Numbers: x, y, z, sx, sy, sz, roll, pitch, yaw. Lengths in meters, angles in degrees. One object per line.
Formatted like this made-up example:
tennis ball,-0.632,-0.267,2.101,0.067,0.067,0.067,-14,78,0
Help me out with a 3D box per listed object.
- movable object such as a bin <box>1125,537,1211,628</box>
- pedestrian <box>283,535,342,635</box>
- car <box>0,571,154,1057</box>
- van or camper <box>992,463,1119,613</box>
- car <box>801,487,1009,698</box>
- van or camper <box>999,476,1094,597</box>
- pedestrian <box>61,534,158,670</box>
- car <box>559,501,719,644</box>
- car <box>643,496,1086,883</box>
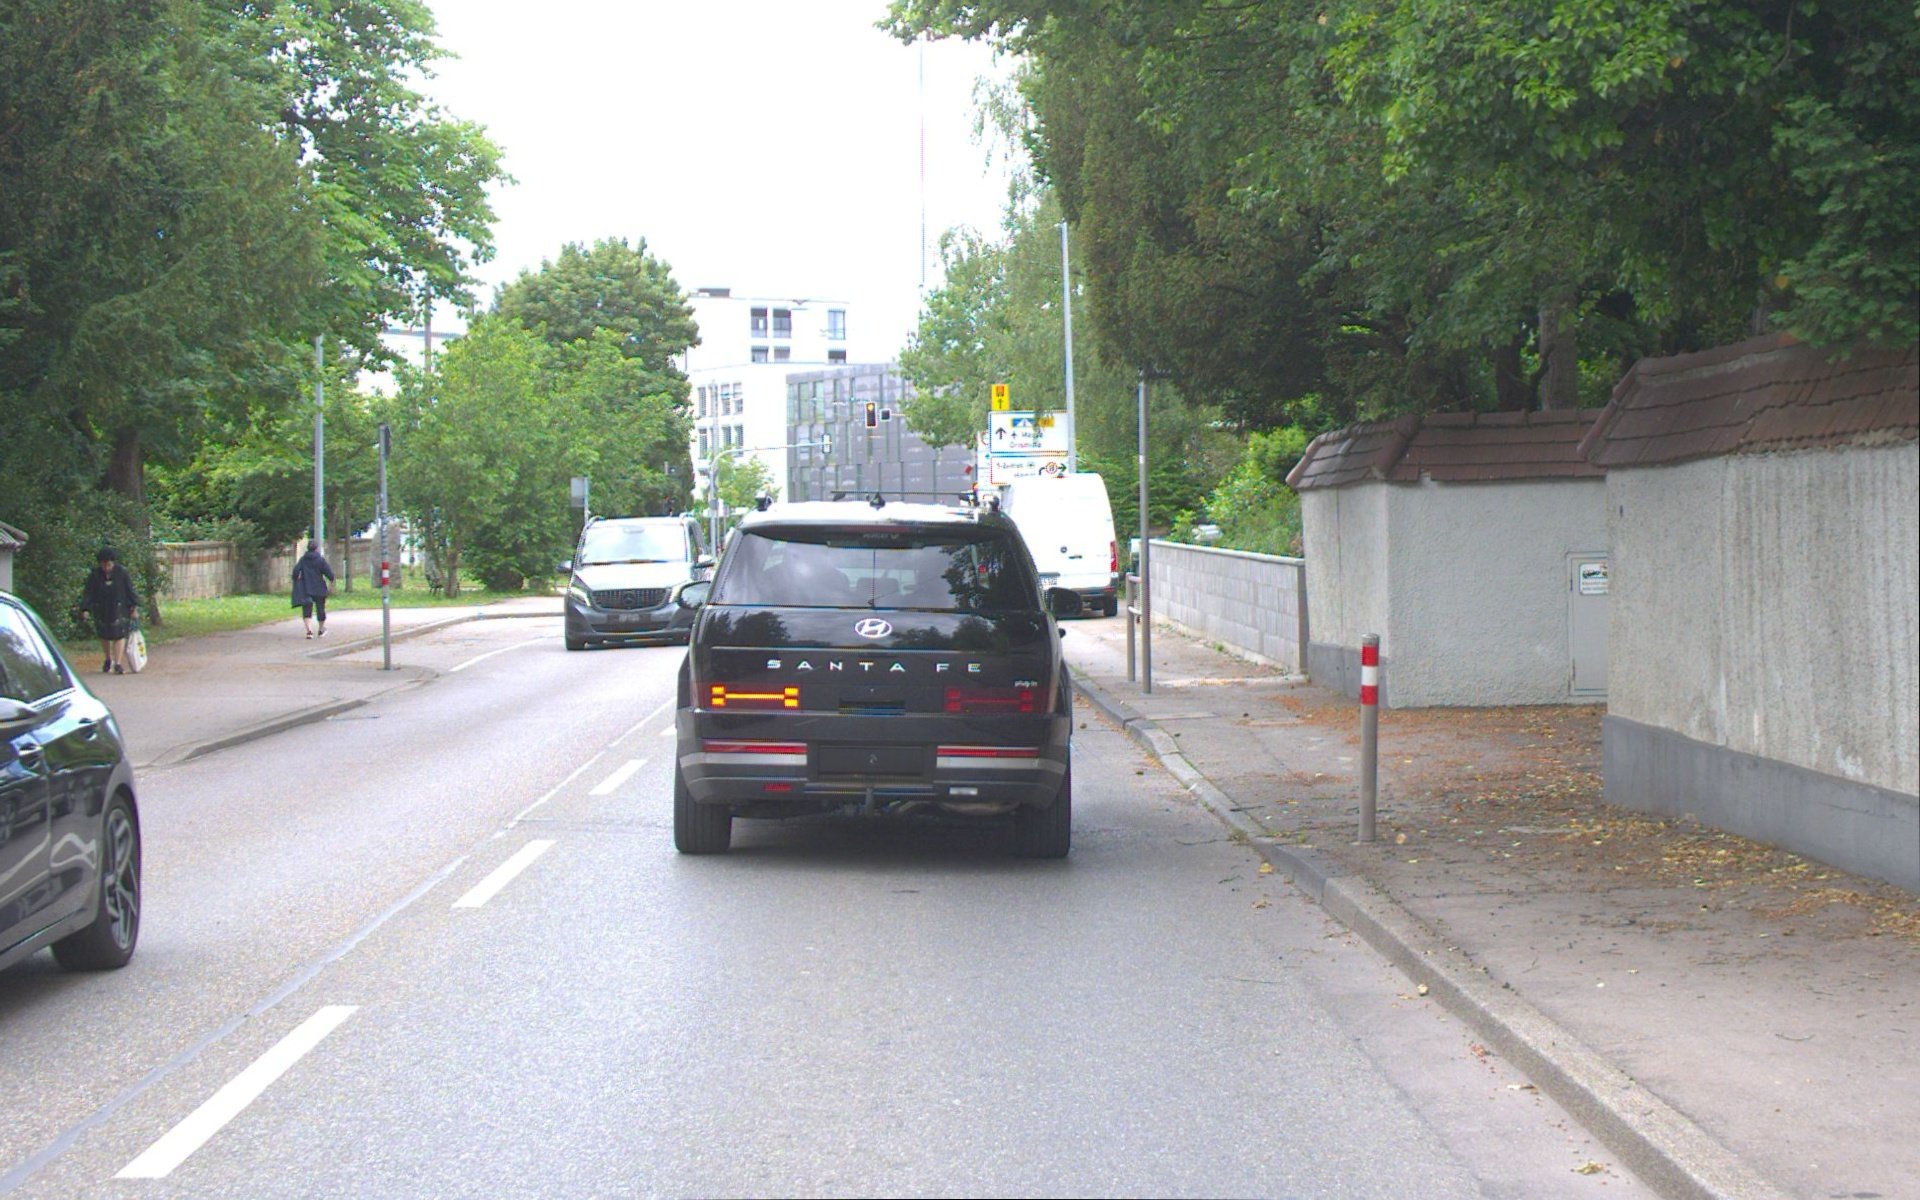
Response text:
movable object such as a bin,3.388,-0.297,56.157,1.299,1.445,1.181,-1,1,-1
pedestrian,-10.411,-0.250,55.291,0.748,1.572,0.967,1,1,-1
car,-3.789,0.658,10.710,1.785,1.423,4.001,-1,1,-3
van or camper,1.754,-1.169,65.007,1.963,2.619,6.359,-2,1,-1
car,-0.574,-0.103,34.846,1.963,1.994,4.000,1,1,-1
van or camper,2.080,-1.546,83.835,1.963,2.787,5.287,-2,1,-1
pedestrian,-10.087,0.025,40.795,0.925,1.555,0.902,2,-1,-5
car,-4.592,-0.420,49.854,1.890,1.849,5.084,-4,1,-2
car,-0.450,0.367,17.463,1.963,1.705,4.000,1,1,-1
